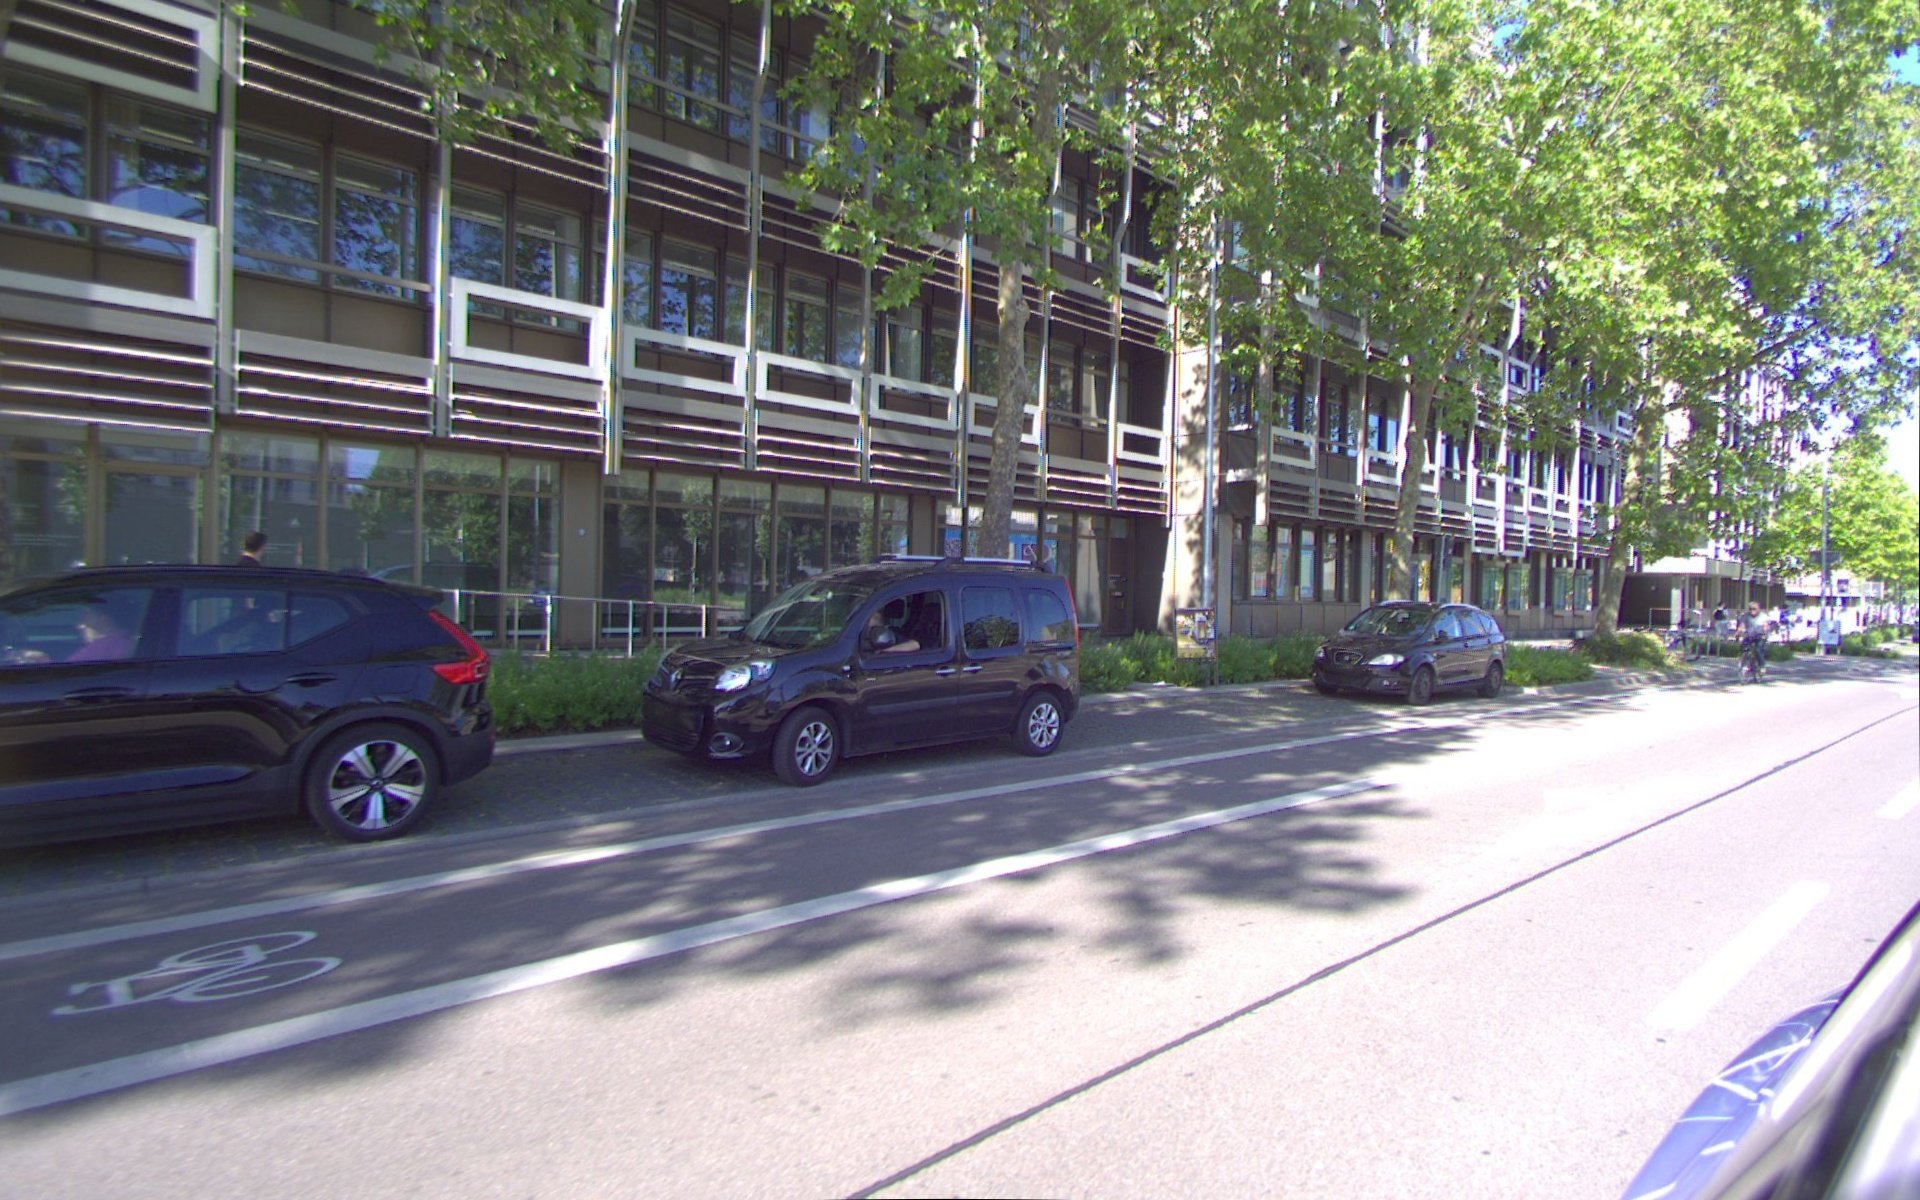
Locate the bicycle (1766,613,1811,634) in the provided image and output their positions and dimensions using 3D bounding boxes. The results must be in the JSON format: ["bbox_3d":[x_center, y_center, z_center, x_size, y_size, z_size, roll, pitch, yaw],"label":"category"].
[{"bbox_3d":[46.210,1.302,56.458,0.419,1.023,1.863,1,3,-39],"label":"bicycle"}]

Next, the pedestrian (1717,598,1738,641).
[{"bbox_3d":[30.833,0.776,40.645,0.760,1.722,0.511,1,0,-42],"label":"pedestrian"}]

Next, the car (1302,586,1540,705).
[{"bbox_3d":[7.773,0.683,16.875,4.552,1.663,1.708,1,2,-39],"label":"car"}]

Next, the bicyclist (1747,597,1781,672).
[{"bbox_3d":[17.612,0.746,22.170,0.513,1.621,0.528,1,0,45],"label":"bicyclist"}]

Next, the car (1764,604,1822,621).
[{"bbox_3d":[86.091,1.250,104.620,4.377,1.563,1.831,2,1,34],"label":"car"}]

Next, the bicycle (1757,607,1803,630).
[{"bbox_3d":[45.053,0.997,55.621,0.419,1.111,1.863,1,3,-39],"label":"bicycle"}]

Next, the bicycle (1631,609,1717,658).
[{"bbox_3d":[20.686,0.950,29.353,0.569,1.252,1.939,1,2,-43],"label":"bicycle"}]

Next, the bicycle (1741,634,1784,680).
[{"bbox_3d":[17.491,1.228,22.047,0.497,0.917,2.161,-1,-1,44],"label":"bicycle"}]

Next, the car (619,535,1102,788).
[{"bbox_3d":[-0.750,0.423,9.253,4.118,1.812,1.708,1,2,-41],"label":"car"}]

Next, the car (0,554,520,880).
[{"bbox_3d":[-4.939,0.554,5.799,4.118,1.583,1.707,0,0,-41],"label":"car"}]

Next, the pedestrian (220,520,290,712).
[{"bbox_3d":[-7.429,0.160,10.657,0.547,1.941,0.678,0,-1,-40],"label":"pedestrian"}]

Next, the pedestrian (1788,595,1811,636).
[{"bbox_3d":[37.119,0.684,44.761,0.789,1.750,0.648,1,0,-42],"label":"pedestrian"}]

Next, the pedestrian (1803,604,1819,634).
[{"bbox_3d":[42.234,0.950,50.211,0.723,1.493,0.511,1,0,-42],"label":"pedestrian"}]
